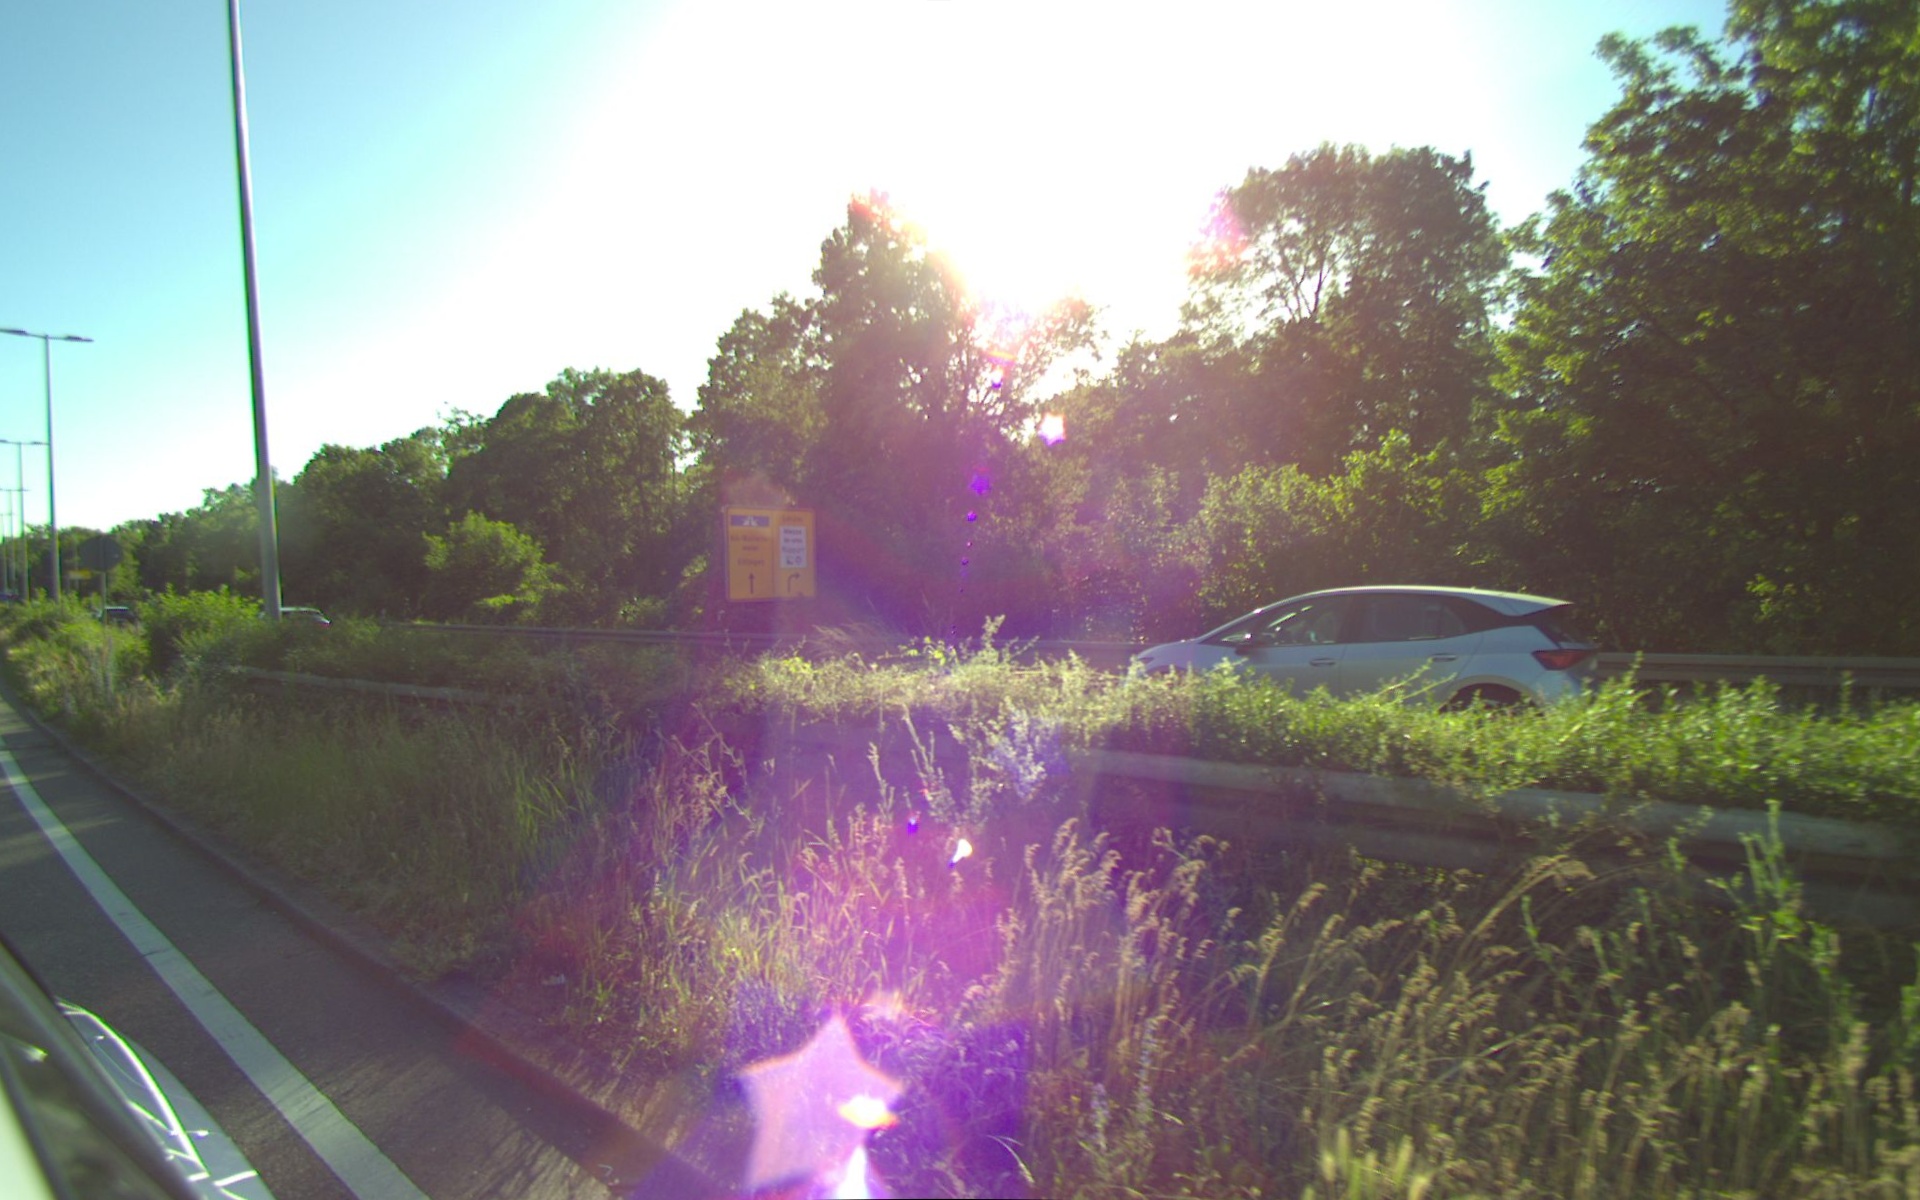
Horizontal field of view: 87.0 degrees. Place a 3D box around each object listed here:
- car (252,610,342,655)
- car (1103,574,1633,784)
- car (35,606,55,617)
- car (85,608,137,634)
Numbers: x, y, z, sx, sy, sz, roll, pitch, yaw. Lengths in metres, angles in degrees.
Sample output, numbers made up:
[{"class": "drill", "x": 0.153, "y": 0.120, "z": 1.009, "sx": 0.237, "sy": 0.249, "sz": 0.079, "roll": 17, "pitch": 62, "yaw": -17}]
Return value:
[{"class": "car", "x": -22.905, "y": 1.072, "z": 34.886, "sx": 1.863, "sy": 1.431, "sz": 4.368, "roll": 0, "pitch": -1, "yaw": -44}, {"class": "car", "x": 3.651, "y": 0.611, "z": 9.380, "sx": 4.208, "sy": 1.532, "sz": 1.868, "roll": -2, "pitch": 0, "yaw": 36}, {"class": "car", "x": -121.552, "y": 1.535, "z": 134.370, "sx": 1.753, "sy": 1.367, "sz": 4.465, "roll": -3, "pitch": 2, "yaw": -45}, {"class": "car", "x": -49.065, "y": 1.177, "z": 58.427, "sx": 4.532, "sy": 1.427, "sz": 1.785, "roll": -1, "pitch": 0, "yaw": 43}]
